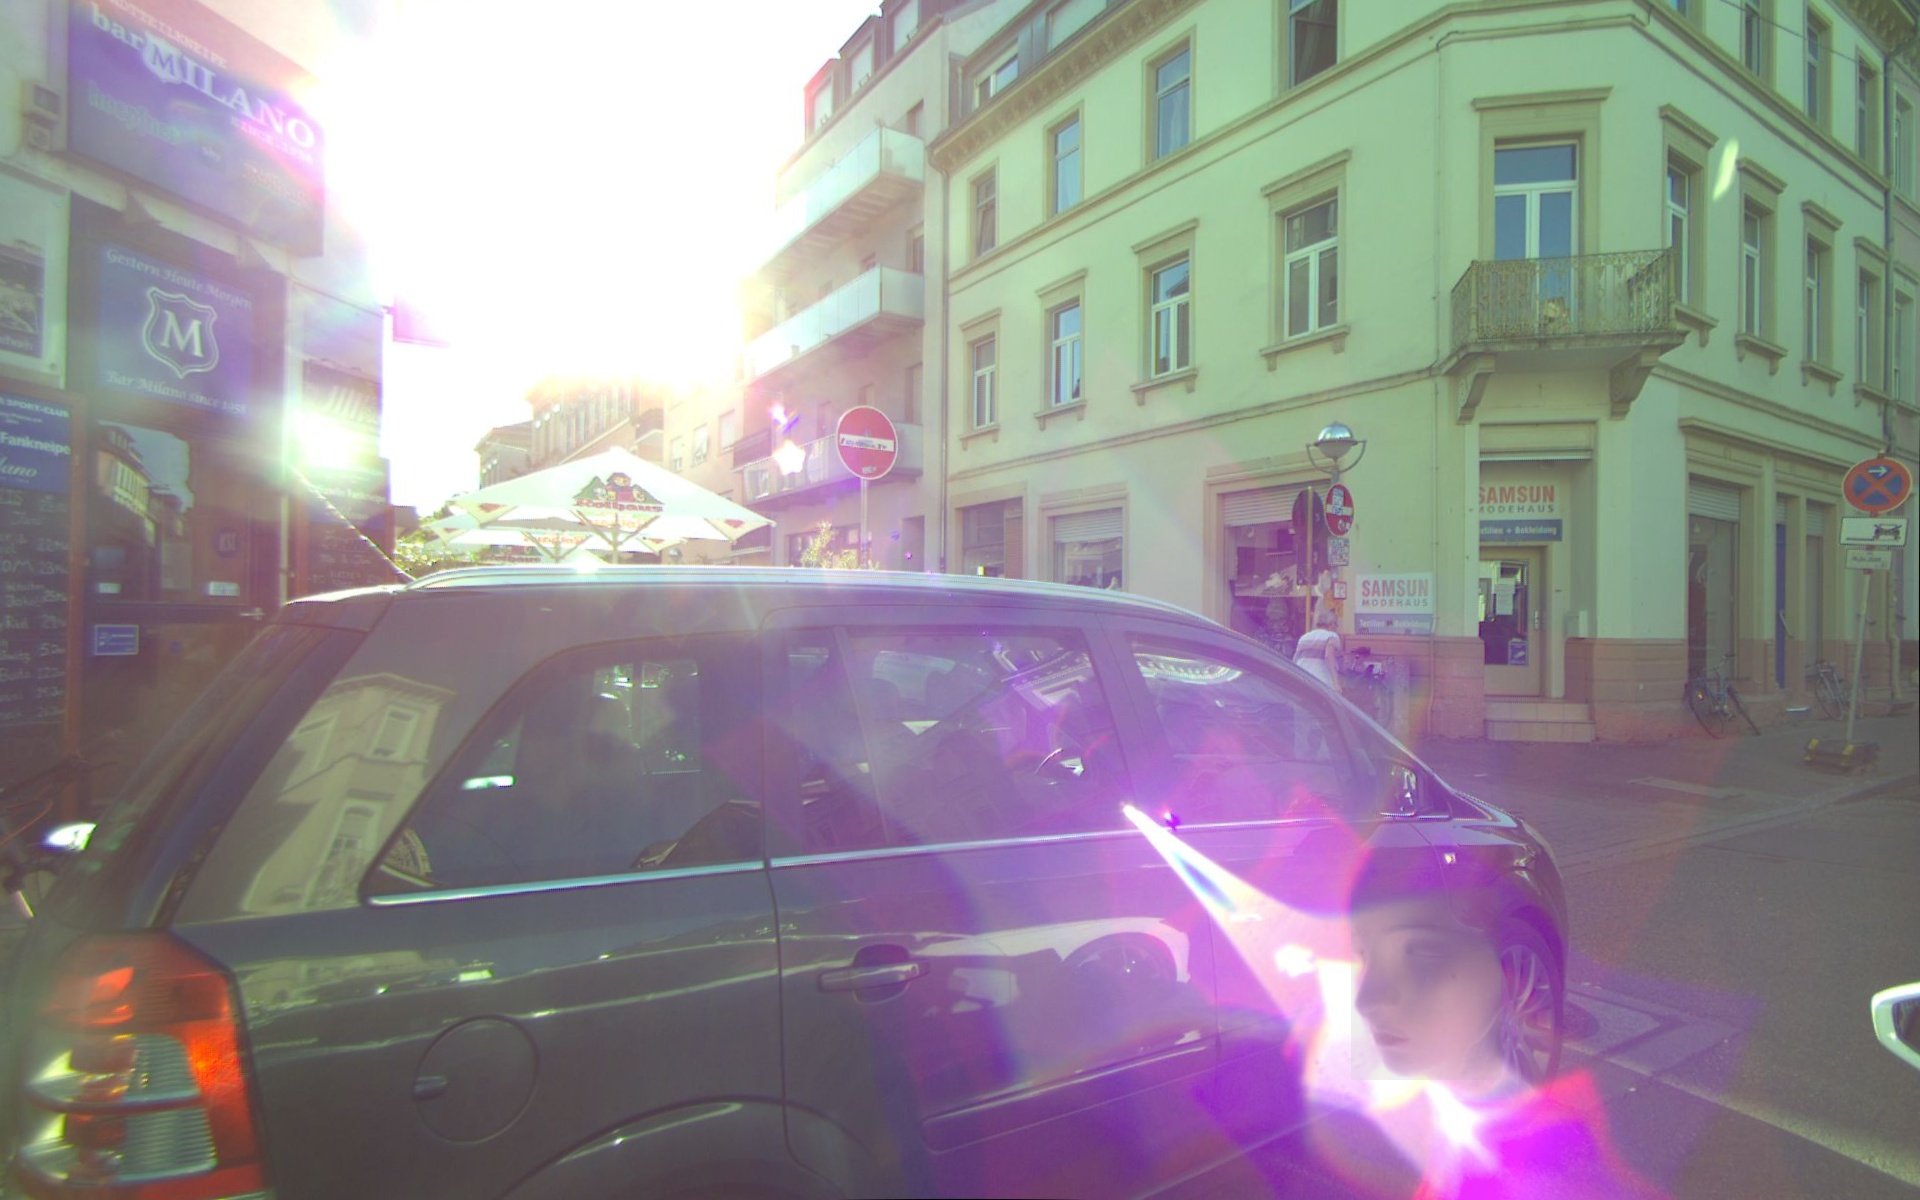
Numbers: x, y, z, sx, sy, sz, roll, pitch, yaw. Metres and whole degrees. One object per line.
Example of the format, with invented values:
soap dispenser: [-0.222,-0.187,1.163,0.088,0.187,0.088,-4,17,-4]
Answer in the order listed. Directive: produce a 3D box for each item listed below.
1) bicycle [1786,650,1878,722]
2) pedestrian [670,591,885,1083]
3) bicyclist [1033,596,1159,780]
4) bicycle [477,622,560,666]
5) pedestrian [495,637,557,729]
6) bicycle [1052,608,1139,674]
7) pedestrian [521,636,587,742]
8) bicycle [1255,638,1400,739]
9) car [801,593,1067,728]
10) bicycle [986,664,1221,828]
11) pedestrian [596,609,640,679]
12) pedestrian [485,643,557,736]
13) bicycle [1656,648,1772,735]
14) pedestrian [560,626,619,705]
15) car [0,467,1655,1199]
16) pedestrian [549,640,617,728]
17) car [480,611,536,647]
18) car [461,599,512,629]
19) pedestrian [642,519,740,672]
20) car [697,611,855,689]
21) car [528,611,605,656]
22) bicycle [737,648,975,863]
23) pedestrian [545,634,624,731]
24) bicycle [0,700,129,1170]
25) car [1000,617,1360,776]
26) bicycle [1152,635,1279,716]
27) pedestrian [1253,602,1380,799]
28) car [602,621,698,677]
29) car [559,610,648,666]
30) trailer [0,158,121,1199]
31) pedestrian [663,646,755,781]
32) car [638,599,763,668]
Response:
bicycle: [13.818,1.331,15.910,1.799,1.036,0.618,1,0,-33]
pedestrian: [-0.710,0.816,3.819,0.573,1.666,0.626,3,-1,-27]
bicyclist: [1.150,0.703,8.481,0.779,1.455,0.706,0,-1,44]
bicycle: [-11.400,1.138,25.945,1.904,1.084,0.608,2,0,-29]
pedestrian: [-6.343,1.199,14.691,0.603,1.283,0.660,2,0,-3]
bicycle: [2.483,0.735,18.639,0.604,1.137,1.914,2,0,-27]
pedestrian: [-4.772,1.024,11.802,0.671,1.170,0.656,2,0,-24]
bicycle: [4.879,1.143,13.474,0.604,1.164,1.914,2,0,-27]
car: [-0.625,0.851,16.590,1.839,1.875,5.049,1,0,-36]
bicycle: [1.158,1.149,8.445,1.908,1.126,0.706,0,-1,44]
pedestrian: [-8.449,1.075,24.813,0.820,1.672,0.735,2,0,-35]
pedestrian: [-5.775,1.164,13.238,0.646,1.160,0.543,2,0,11]
bicycle: [10.044,1.196,13.359,1.799,1.036,0.599,3,2,-33]
pedestrian: [-5.341,0.934,14.460,0.670,1.068,0.718,2,0,-29]
car: [0.173,0.735,2.900,4.125,1.626,1.711,1,-2,-35]
pedestrian: [-5.807,1.275,15.501,0.709,1.283,0.681,2,0,9]
car: [-23.104,1.461,51.298,1.755,1.674,4.114,1,0,-36]
car: [-25.908,0.741,54.951,1.755,1.590,4.114,1,0,-36]
pedestrian: [-2.380,-0.030,8.866,0.652,1.283,0.683,2,0,-29]
car: [-3.971,0.980,21.207,1.742,1.429,3.925,1,0,-36]
car: [-15.408,1.263,39.223,1.755,1.590,4.114,1,0,-36]
bicycle: [-0.935,1.121,8.142,0.918,1.377,2.462,2,-1,-32]
pedestrian: [-4.830,1.044,12.947,0.646,1.160,0.689,2,0,11]
bicycle: [-3.034,0.876,2.497,1.449,1.154,0.571,2,0,-39]
car: [2.407,0.982,11.950,1.741,1.475,4.112,1,0,-35]
bicycle: [3.900,1.121,15.468,0.607,1.085,1.906,2,0,-39]
pedestrian: [3.386,0.909,9.564,0.856,1.725,0.689,-1,5,-33]
car: [-9.124,1.391,29.409,1.584,1.458,3.547,1,0,-36]
car: [-12.222,1.235,34.307,1.755,1.736,4.114,1,0,-36]
trailer: [-3.380,0.426,0.535,4.322,2.088,1.650,2,-3,-36]
pedestrian: [-2.615,1.144,10.441,0.698,1.283,0.844,2,0,-29]
car: [-6.779,0.805,25.935,1.754,1.590,4.369,1,0,-34]
